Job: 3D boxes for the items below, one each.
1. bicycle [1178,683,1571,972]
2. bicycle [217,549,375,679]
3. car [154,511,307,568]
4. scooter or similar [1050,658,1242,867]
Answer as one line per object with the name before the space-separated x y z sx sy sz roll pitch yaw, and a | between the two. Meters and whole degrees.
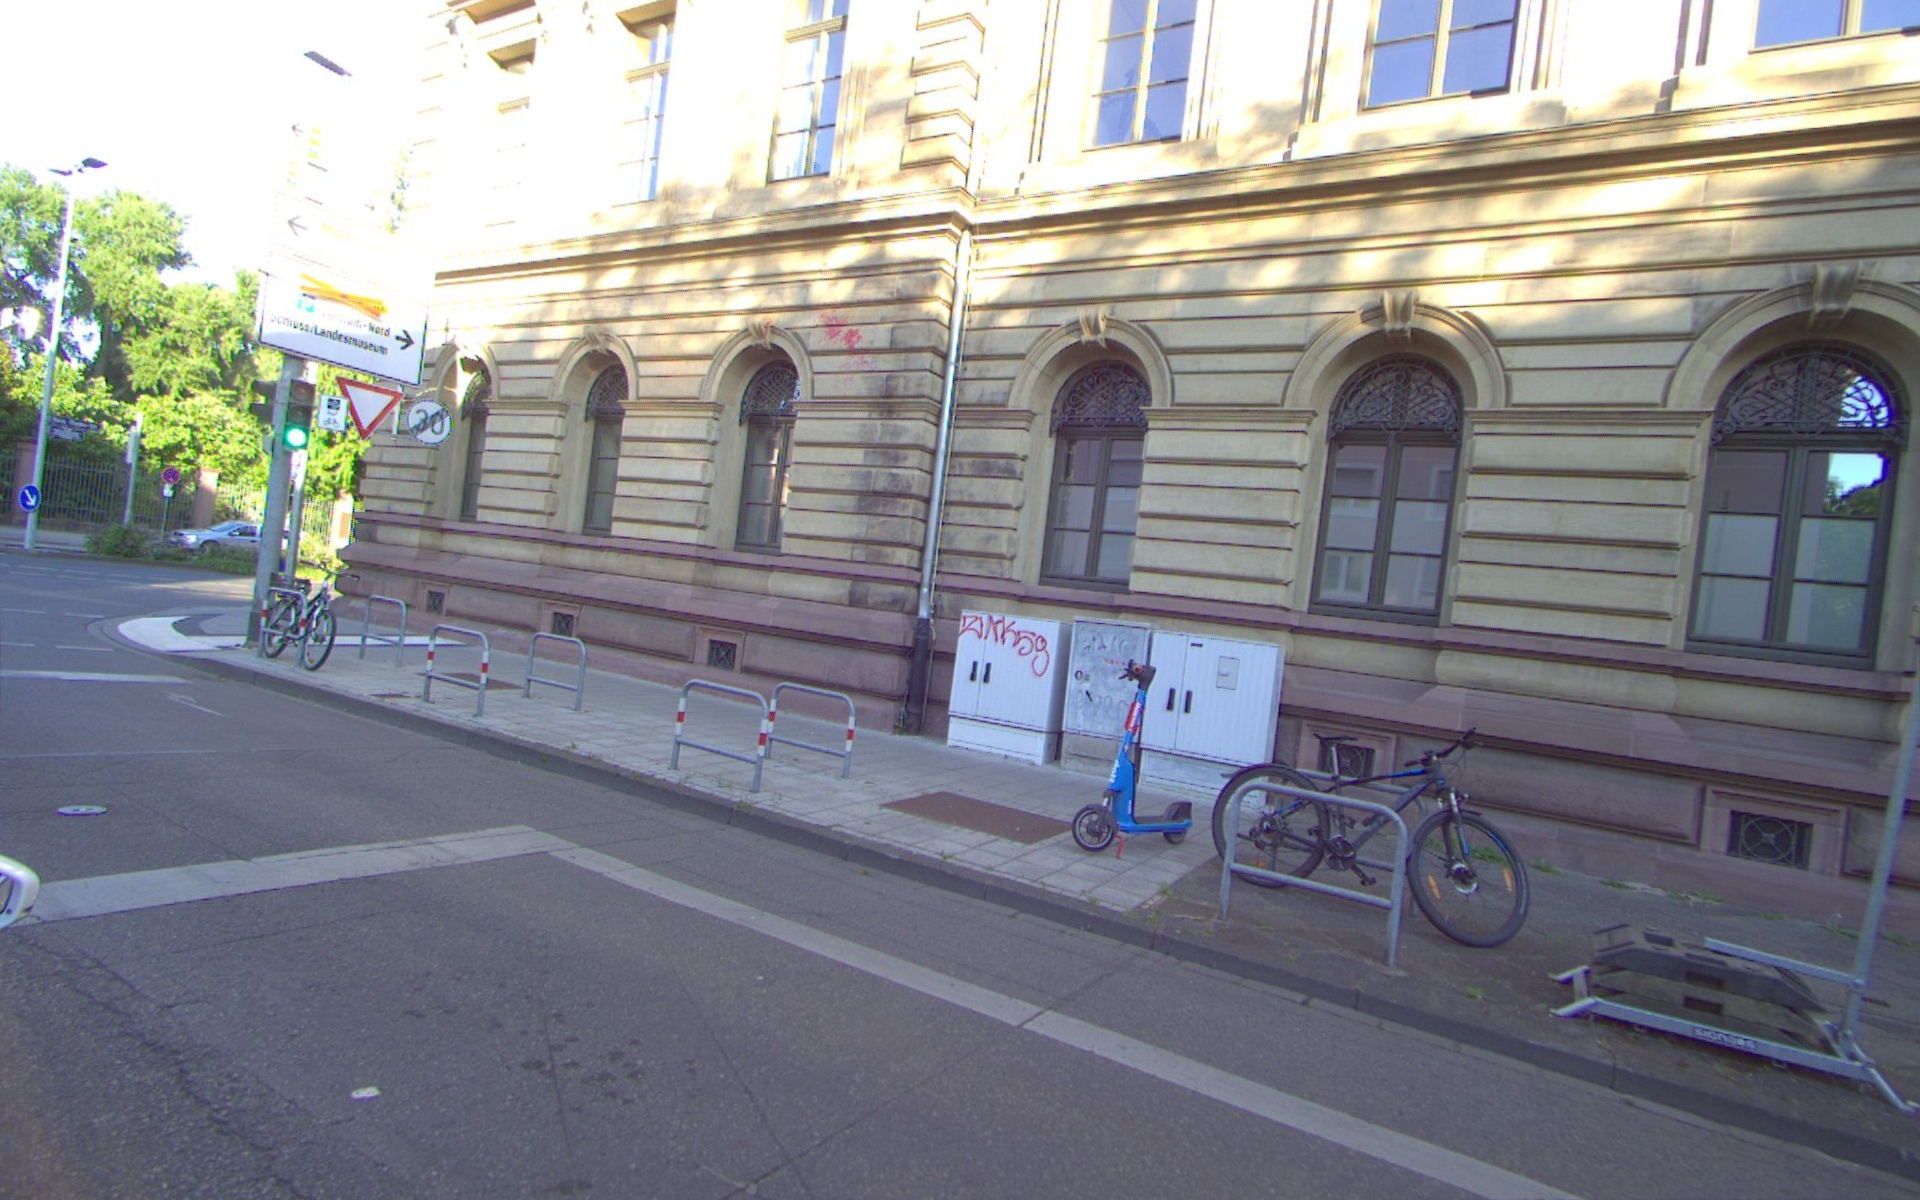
bicycle | 2.389 1.213 5.890 1.912 1.149 0.827 7 3 32
bicycle | -7.115 0.130 10.752 1.889 1.203 0.583 5 -1 32
car | -27.057 -2.197 37.466 1.684 1.462 4.195 7 -1 27
scooter or similar | 1.252 1.043 6.710 1.125 1.211 0.577 4 2 -41
